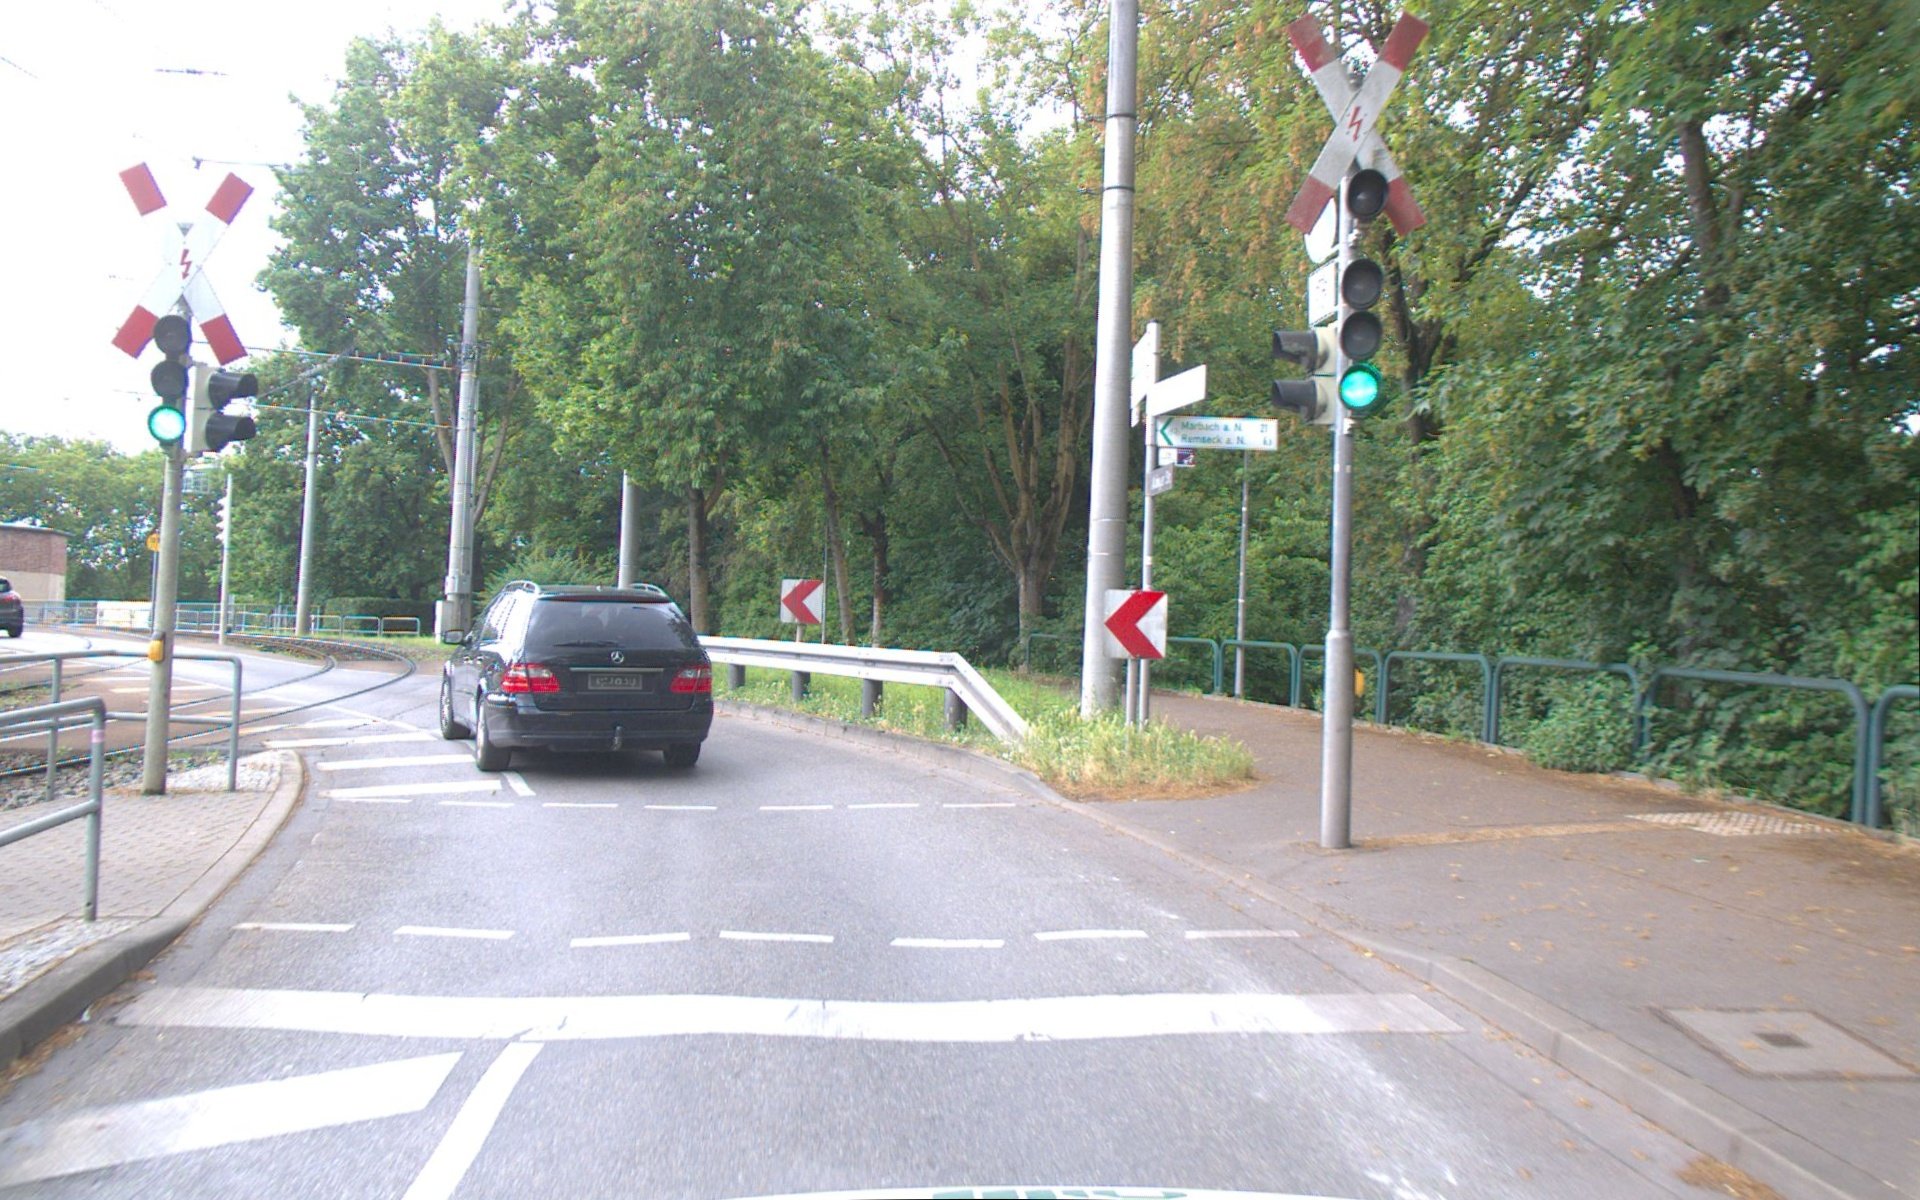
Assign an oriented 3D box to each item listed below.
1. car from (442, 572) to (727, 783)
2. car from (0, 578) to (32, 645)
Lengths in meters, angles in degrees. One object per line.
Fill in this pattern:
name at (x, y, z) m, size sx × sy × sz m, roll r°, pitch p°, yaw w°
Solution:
car at (-3.439, 0.561, 14.502) m, size 1.735 × 1.542 × 4.412 m, roll 1°, pitch 0°, yaw -22°
car at (-24.626, 0.243, 40.629) m, size 4.160 × 1.582 × 1.768 m, roll 1°, pitch 0°, yaw 39°
